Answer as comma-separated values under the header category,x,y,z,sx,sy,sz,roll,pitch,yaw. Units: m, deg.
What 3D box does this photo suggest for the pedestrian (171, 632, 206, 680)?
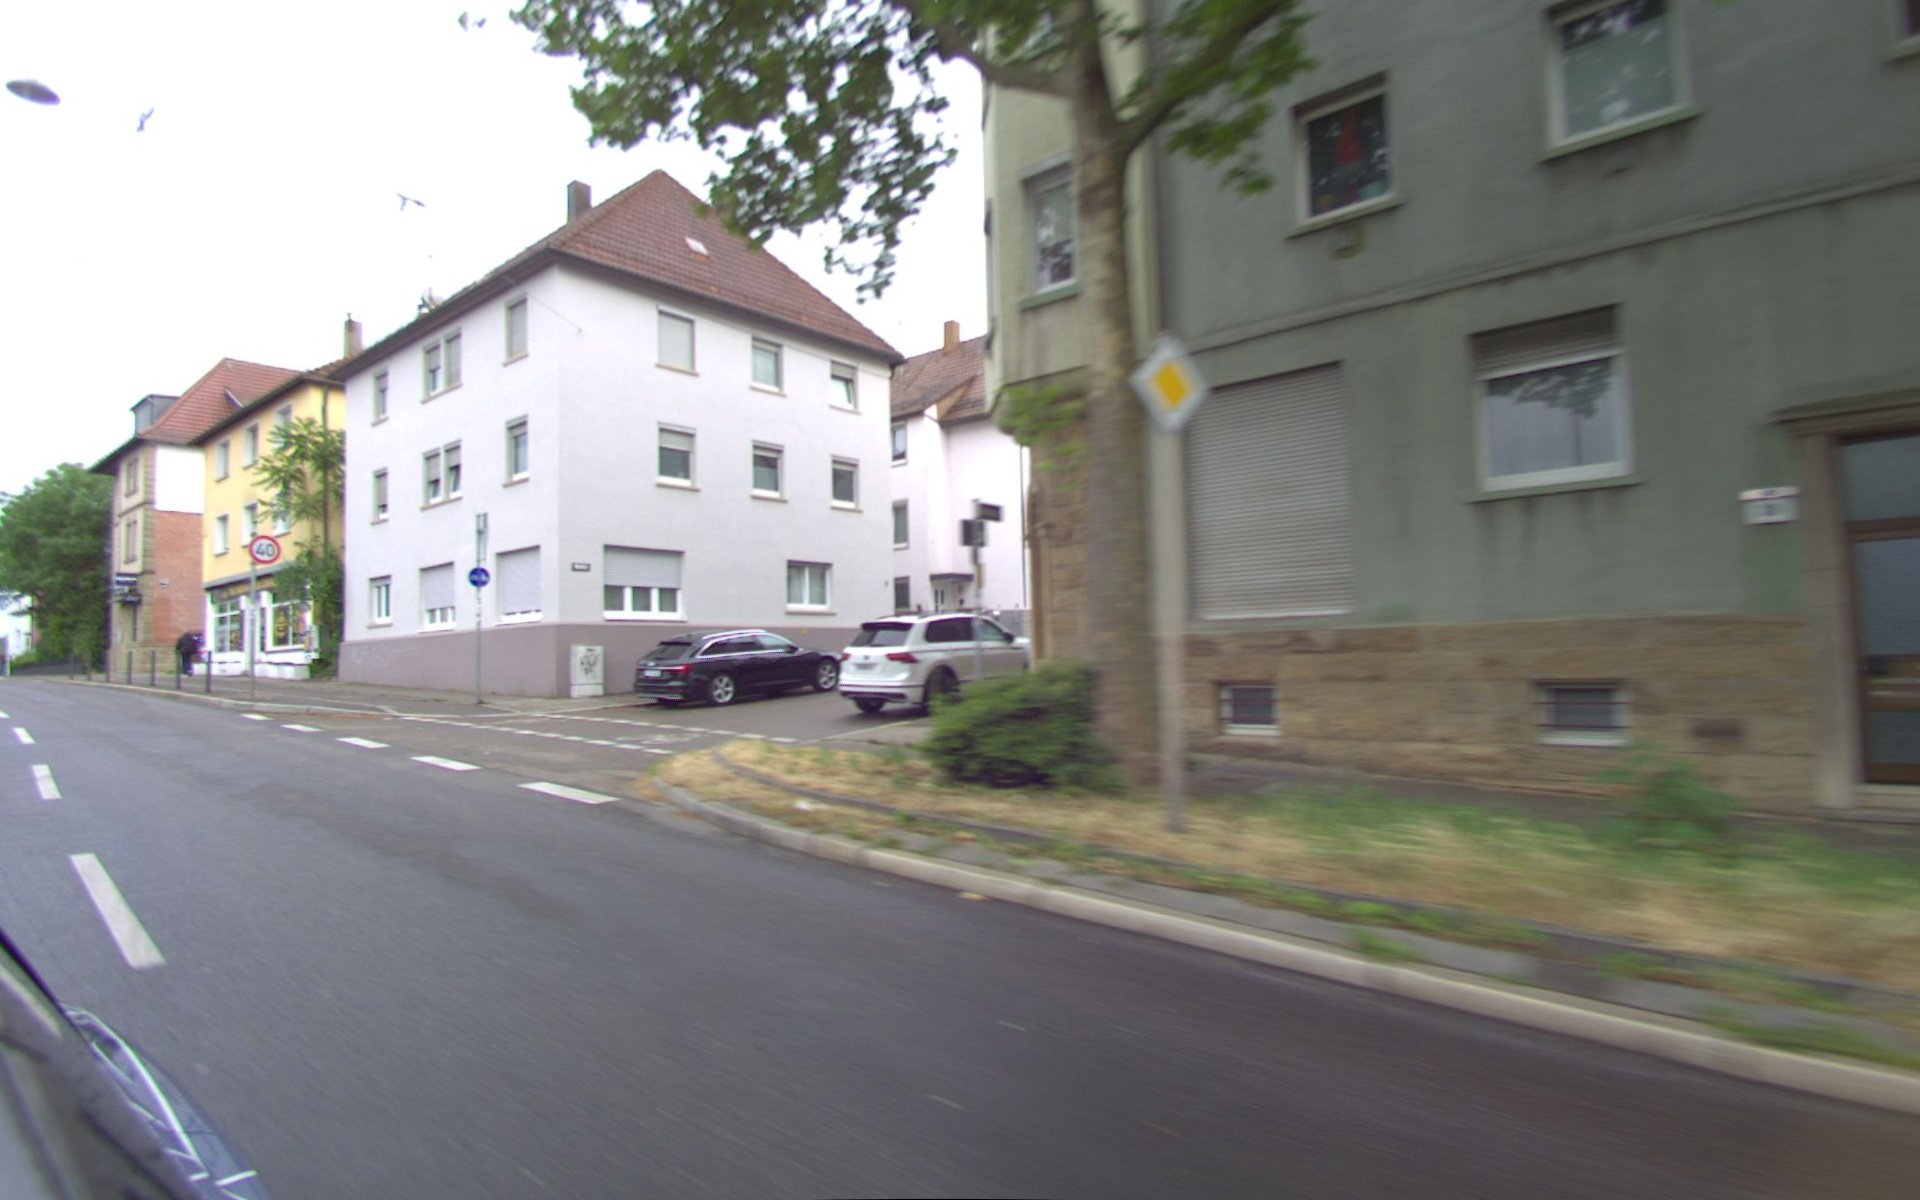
category,x,y,z,sx,sy,sz,roll,pitch,yaw
pedestrian,-28.207,2.033,37.006,0.992,1.692,0.807,-2,-2,39

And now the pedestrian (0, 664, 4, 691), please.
category,x,y,z,sx,sy,sz,roll,pitch,yaw
pedestrian,-68.416,5.525,71.766,1.115,1.835,0.797,-6,-5,40

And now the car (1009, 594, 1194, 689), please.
category,x,y,z,sx,sy,sz,roll,pitch,yaw
car,3.161,0.841,21.997,1.999,1.716,4.140,-3,0,41

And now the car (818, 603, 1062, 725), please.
category,x,y,z,sx,sy,sz,roll,pitch,yaw
car,-0.241,1.027,17.777,1.999,1.716,4.140,-3,0,41

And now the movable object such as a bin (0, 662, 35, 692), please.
category,x,y,z,sx,sy,sz,roll,pitch,yaw
movable object such as a bin,-131.369,10.689,140.464,2.907,3.873,8.149,0,-5,-31

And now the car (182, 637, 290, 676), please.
category,x,y,z,sx,sy,sz,roll,pitch,yaw
car,-32.175,2.513,45.023,1.945,1.497,3.530,-4,-2,39

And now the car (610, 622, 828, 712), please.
category,x,y,z,sx,sy,sz,roll,pitch,yaw
car,-4.887,1.314,20.922,1.998,1.464,3.947,-3,0,40

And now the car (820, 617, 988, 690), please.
category,x,y,z,sx,sy,sz,roll,pitch,yaw
car,-1.316,1.273,25.066,1.973,1.464,3.947,-3,0,40

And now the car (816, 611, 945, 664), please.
category,x,y,z,sx,sy,sz,roll,pitch,yaw
car,-2.544,1.178,31.895,3.999,1.532,1.779,-2,-1,42
